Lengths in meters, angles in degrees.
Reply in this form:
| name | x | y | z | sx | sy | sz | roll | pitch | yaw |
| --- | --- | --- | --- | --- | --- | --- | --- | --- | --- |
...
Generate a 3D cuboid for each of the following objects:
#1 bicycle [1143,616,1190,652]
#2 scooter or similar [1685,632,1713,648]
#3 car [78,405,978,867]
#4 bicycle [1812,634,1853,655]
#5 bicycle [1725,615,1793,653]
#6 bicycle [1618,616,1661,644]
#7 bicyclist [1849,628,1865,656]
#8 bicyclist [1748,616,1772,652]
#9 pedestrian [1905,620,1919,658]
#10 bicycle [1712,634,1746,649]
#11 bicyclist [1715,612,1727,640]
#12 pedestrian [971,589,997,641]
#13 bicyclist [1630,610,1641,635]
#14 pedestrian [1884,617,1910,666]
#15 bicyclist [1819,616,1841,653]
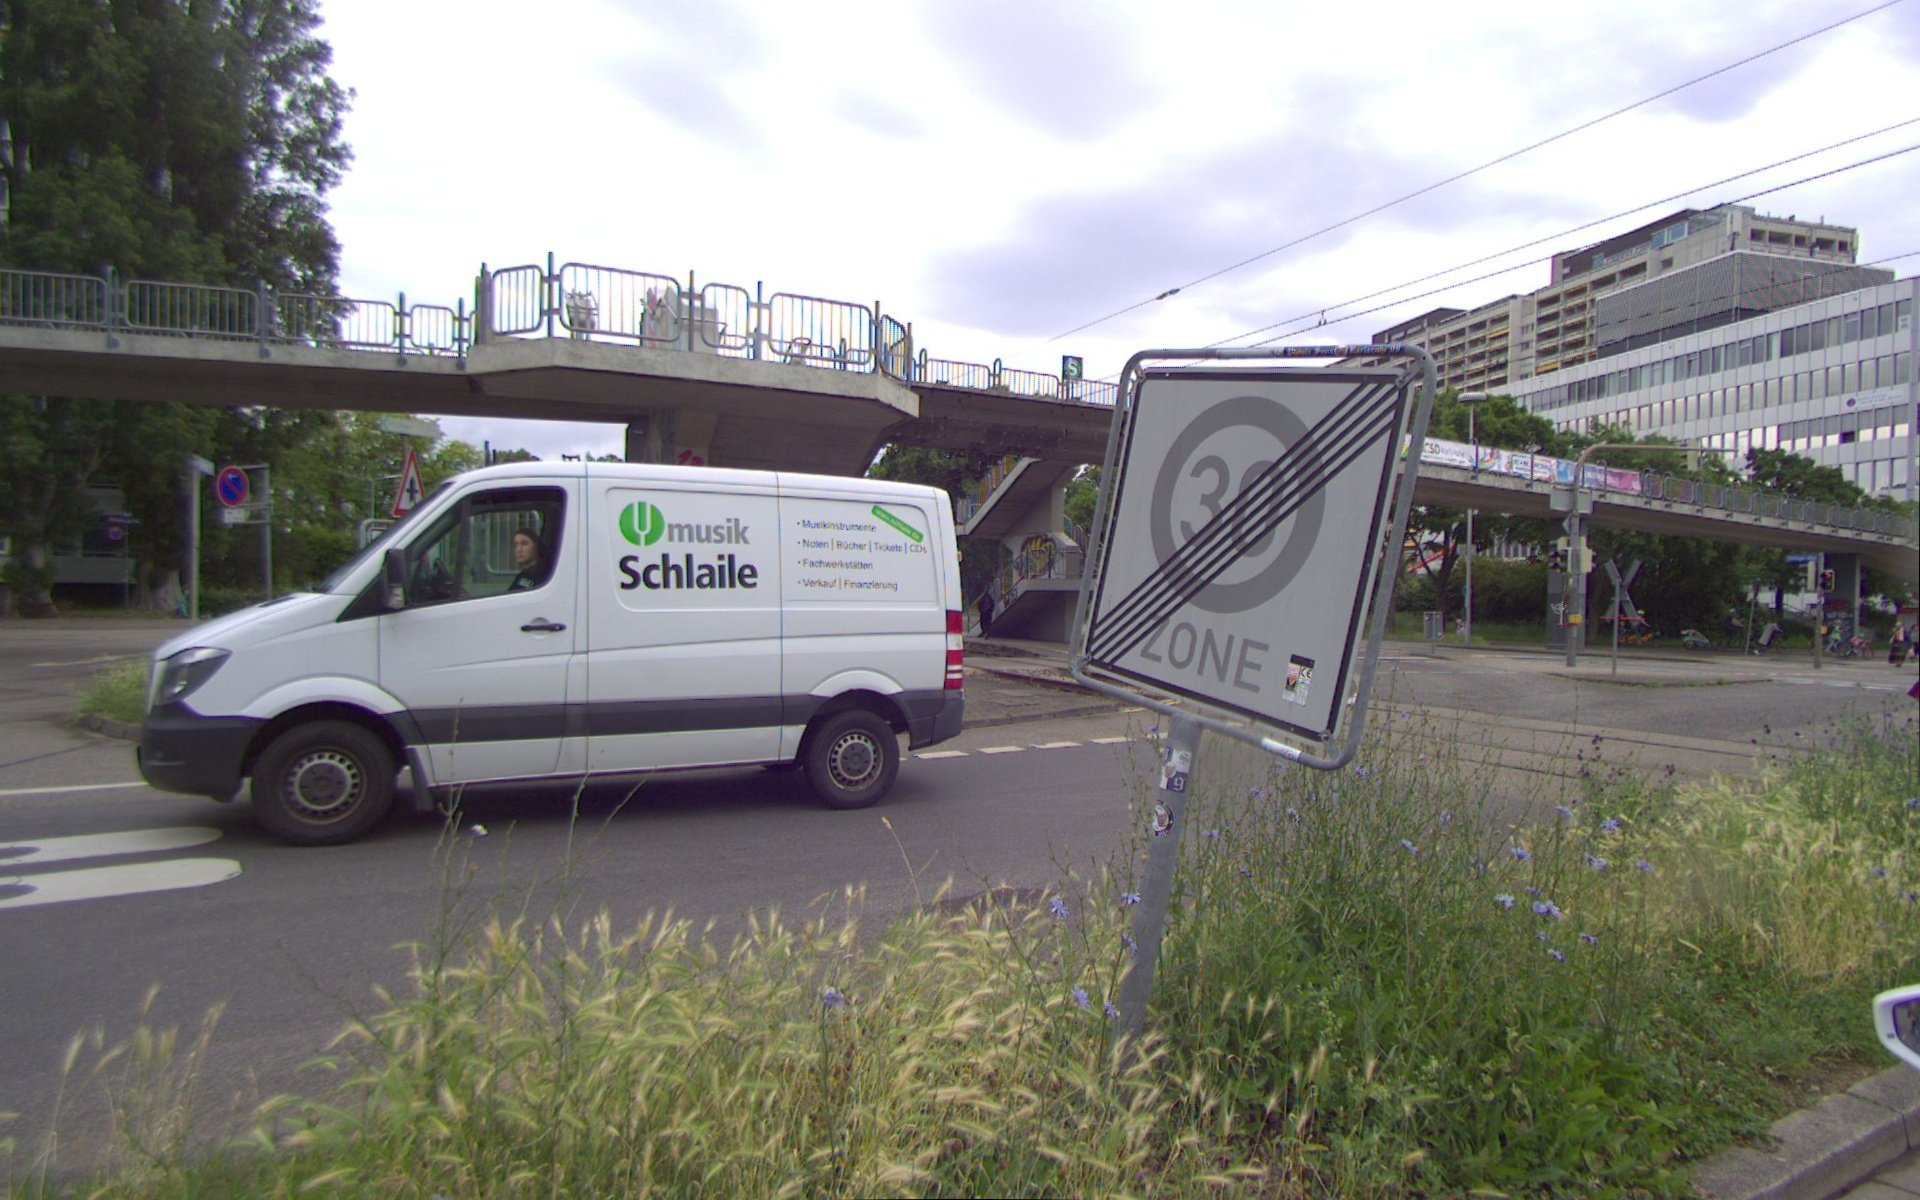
| name | x | y | z | sx | sy | sz | roll | pitch | yaw |
| --- | --- | --- | --- | --- | --- | --- | --- | --- | --- |
| bicycle | 5.873 | 0.964 | 28.683 | 0.368 | 0.934 | 2.029 | 1 | 0 | -18 |
| scooter or similar | 35.788 | 1.934 | 48.650 | 0.978 | 0.724 | 0.406 | 1 | 0 | 26 |
| car | -2.636 | 0.222 | 7.213 | 5.142 | 2.323 | 2.126 | 1 | 0 | -28 |
| bicycle | 39.608 | 2.010 | 45.591 | 2.493 | 0.938 | 0.628 | 1 | 1 | -31 |
| bicycle | 36.588 | 1.550 | 46.030 | 2.321 | 1.647 | 0.527 | 1 | 1 | 24 |
| bicycle | 33.736 | 1.498 | 49.870 | 1.686 | 1.321 | 0.387 | 1 | 1 | 43 |
| bicyclist | 39.318 | 1.843 | 44.029 | 0.372 | 1.197 | 0.403 | 0 | 1 | -28 |
| bicyclist | 36.617 | 1.551 | 45.981 | 0.735 | 1.647 | 0.527 | 1 | 1 | 24 |
| pedestrian | 40.531 | 1.657 | 42.640 | 0.572 | 1.600 | 0.777 | 2 | 0 | 42 |
| bicycle | 36.859 | 1.985 | 48.156 | 1.273 | 0.701 | 0.290 | 1 | 1 | 25 |
| bicyclist | 36.675 | 1.236 | 48.379 | 0.376 | 1.321 | 0.278 | 1 | 1 | 24 |
| pedestrian | 0.781 | 0.491 | 32.989 | 0.593 | 1.664 | 0.659 | 1 | 1 | -25 |
| bicyclist | 33.618 | 1.115 | 50.004 | 0.275 | 1.270 | 0.401 | 1 | 1 | -44 |
| pedestrian | 32.988 | 1.451 | 35.351 | 0.402 | 1.714 | 0.612 | 1 | 1 | -43 |
| bicyclist | 39.573 | 1.558 | 45.695 | 0.525 | 1.666 | 0.562 | 2 | 0 | -29 |
